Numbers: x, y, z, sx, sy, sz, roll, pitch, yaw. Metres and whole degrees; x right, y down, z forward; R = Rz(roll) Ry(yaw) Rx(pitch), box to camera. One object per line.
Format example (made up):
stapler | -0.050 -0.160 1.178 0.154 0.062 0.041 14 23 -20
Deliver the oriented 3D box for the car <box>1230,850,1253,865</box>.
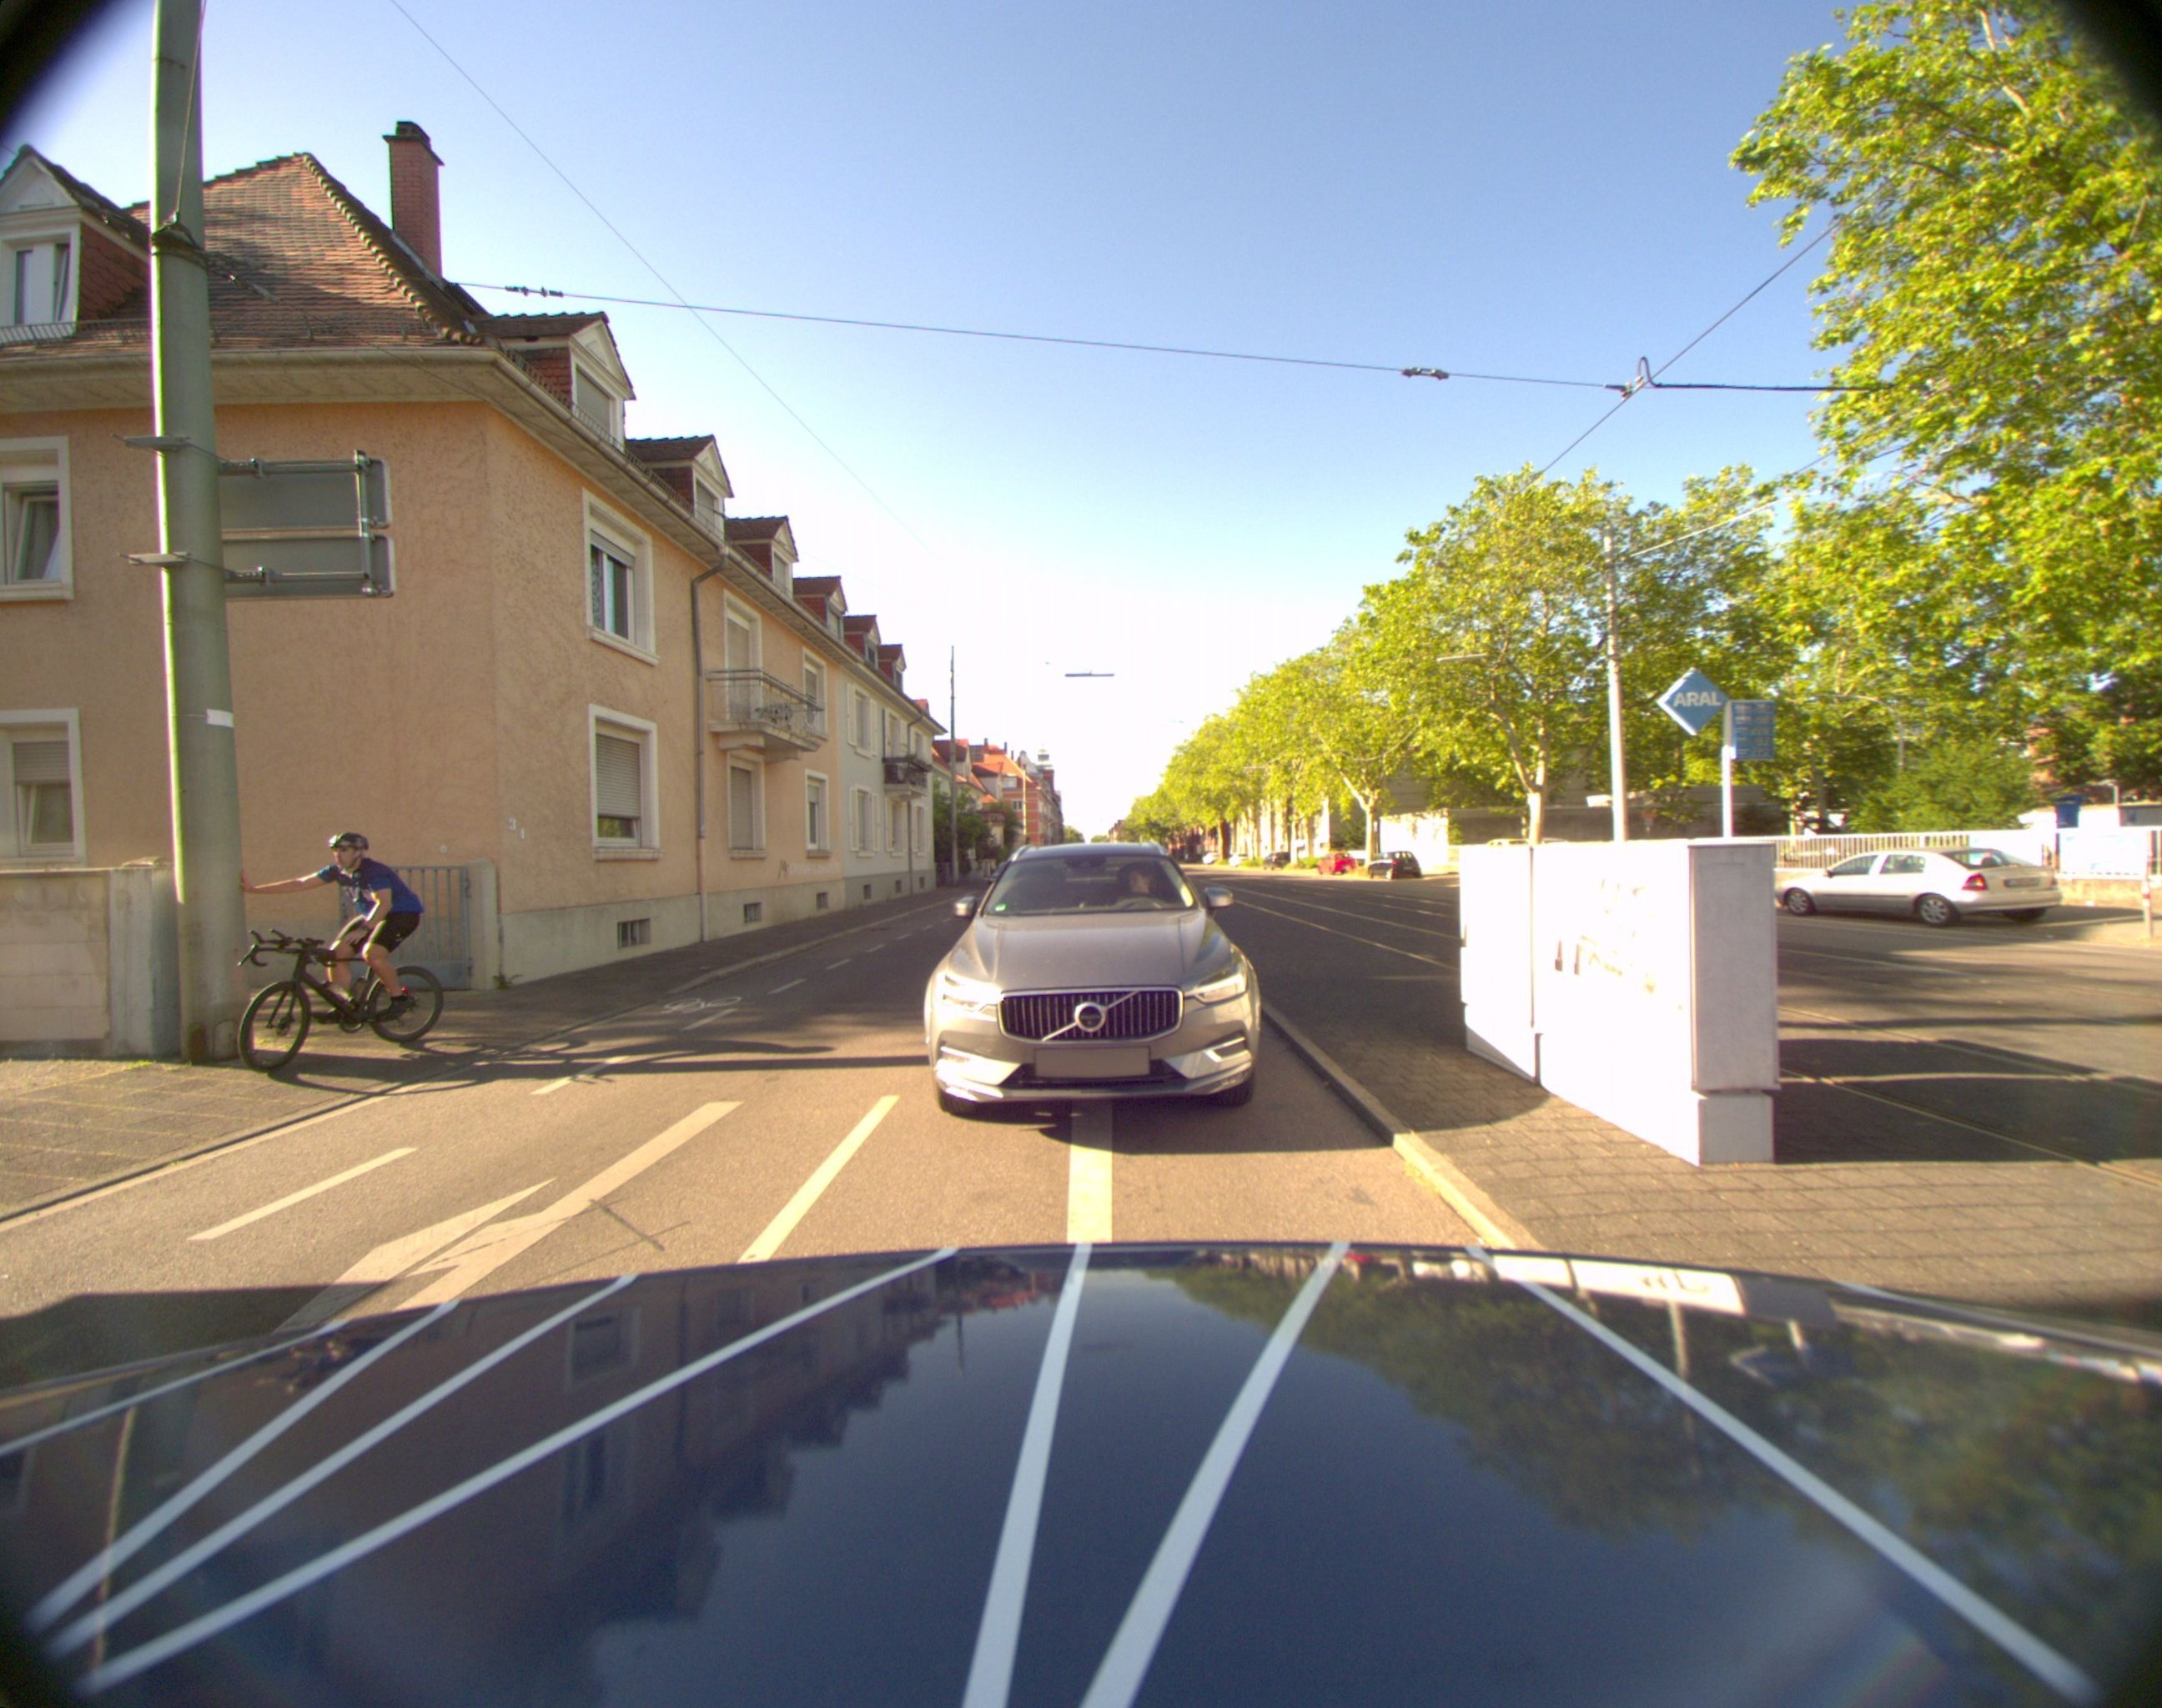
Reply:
car | 17.579 0.357 83.339 1.758 1.475 3.858 -3 0 3

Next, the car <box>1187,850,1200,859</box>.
car | 18.507 0.060 125.290 1.758 1.475 3.858 -3 0 3

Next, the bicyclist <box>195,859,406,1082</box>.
bicyclist | -6.144 0.855 6.048 0.562 1.607 1.016 -1 1 1

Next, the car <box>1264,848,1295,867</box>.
car | 17.174 0.295 65.912 1.758 1.536 3.858 -3 0 3

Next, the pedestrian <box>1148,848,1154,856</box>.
pedestrian | 19.589 -0.542 213.133 1.686 2.002 1.761 -1 1 1

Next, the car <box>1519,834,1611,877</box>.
car | 24.162 0.082 38.097 1.999 2.002 3.999 -1 0 -1

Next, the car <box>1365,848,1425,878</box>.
car | 16.894 0.460 41.038 1.758 1.449 3.858 -3 0 3

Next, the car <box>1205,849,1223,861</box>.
car | 17.672 0.166 100.933 1.758 1.475 3.858 -3 0 3

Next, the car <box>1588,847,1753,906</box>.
car | 16.481 0.570 21.511 1.745 1.389 3.858 -4 0 3

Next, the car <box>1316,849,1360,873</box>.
car | 16.906 0.452 50.180 1.717 1.421 3.858 -3 0 3

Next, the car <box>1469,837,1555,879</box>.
car | 21.814 0.170 38.637 1.999 2.002 3.999 -1 0 -1

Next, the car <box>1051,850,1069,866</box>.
car | -2.324 0.431 85.446 1.867 1.653 4.078 -1 0 1

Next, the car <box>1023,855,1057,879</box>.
car | -2.576 0.813 48.493 1.867 1.399 4.078 -1 0 1

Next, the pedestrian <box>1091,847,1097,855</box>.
pedestrian | 4.377 -1.017 259.321 1.791 2.481 1.901 -1 1 2

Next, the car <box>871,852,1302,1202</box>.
car | 0.060 0.815 5.927 1.998 1.609 4.697 -1 0 1

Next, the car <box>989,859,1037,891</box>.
car | -3.234 0.963 37.072 1.867 1.399 4.424 -1 0 1

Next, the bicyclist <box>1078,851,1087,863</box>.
bicyclist | 0.171 0.356 91.689 1.054 1.496 1.250 -1 1 1

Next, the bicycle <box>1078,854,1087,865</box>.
bicycle | 0.196 0.630 91.753 1.054 1.262 3.914 -1 0 1

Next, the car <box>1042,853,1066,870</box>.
car | -2.352 0.620 66.357 1.867 1.399 4.078 -1 0 1

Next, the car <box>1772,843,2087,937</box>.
car | 16.241 0.609 14.904 1.847 1.477 3.858 -4 0 2

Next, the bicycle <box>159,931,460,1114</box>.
bicycle | -6.113 1.265 6.192 0.550 1.056 1.794 4 0 1

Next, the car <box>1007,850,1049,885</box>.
car | -2.911 0.701 42.826 1.867 1.778 5.297 -1 0 1

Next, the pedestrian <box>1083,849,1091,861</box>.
pedestrian | 1.027 0.169 137.348 1.457 2.002 1.193 -1 1 0

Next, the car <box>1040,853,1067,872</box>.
car | -2.131 0.667 60.053 1.867 1.399 4.078 -1 0 1
